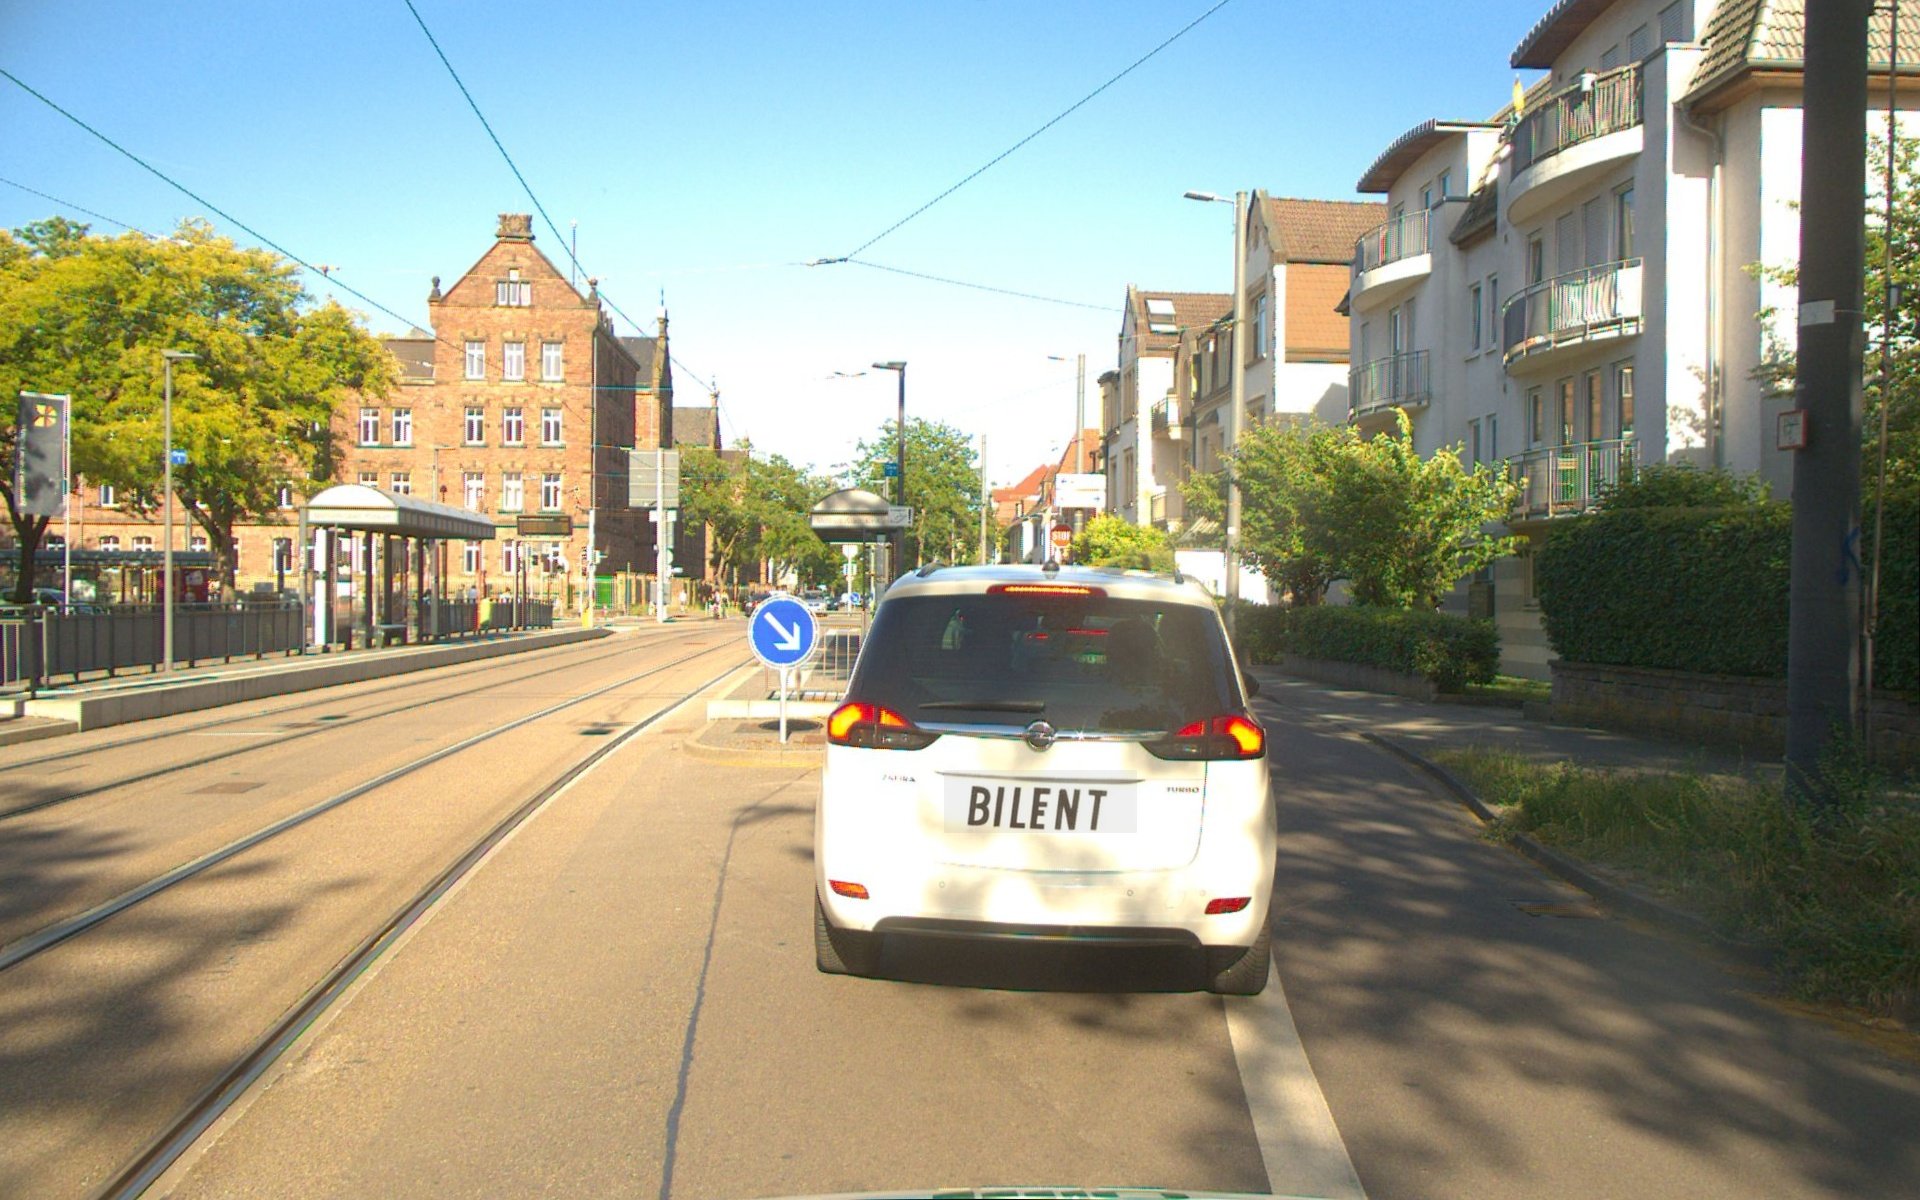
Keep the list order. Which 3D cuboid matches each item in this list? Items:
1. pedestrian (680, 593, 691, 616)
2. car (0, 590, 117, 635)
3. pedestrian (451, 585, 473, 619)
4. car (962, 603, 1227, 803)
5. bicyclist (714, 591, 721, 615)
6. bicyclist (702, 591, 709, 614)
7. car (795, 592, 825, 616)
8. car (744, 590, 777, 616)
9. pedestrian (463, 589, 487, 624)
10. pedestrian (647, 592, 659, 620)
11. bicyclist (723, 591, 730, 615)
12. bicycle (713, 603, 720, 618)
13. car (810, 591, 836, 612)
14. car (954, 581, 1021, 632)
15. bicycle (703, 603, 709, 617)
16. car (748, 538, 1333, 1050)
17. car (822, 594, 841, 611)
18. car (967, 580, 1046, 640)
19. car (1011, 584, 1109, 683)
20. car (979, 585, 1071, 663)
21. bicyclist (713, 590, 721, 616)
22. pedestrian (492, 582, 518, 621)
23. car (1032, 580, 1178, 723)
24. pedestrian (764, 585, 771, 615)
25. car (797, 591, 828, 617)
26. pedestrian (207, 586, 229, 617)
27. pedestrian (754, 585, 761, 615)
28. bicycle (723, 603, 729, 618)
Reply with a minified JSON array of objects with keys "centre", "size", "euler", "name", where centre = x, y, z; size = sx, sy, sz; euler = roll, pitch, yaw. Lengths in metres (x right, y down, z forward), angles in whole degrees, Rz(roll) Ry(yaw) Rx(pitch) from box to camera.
[{"centre":[-20.821,0.317,125.377],"size":[0.720,1.744,0.753],"euler":[1,-1,-6],"name":"pedestrian"},{"centre":[-41.991,0.543,74.130],"size":[6.810,1.954,2.991],"euler":[0,0,-2],"name":"car"},{"centre":[-23.753,0.090,78.922],"size":[0.786,1.616,0.934],"euler":[1,0,-3],"name":"pedestrian"},{"centre":[1.029,0.748,13.980],"size":[1.912,1.422,4.001],"euler":[0,0,1],"name":"car"},{"centre":[-15.576,0.189,106.319],"size":[0.435,1.580,0.495],"euler":[0,0,-4],"name":"bicyclist"},{"centre":[-17.650,0.188,114.818],"size":[0.435,1.580,0.495],"euler":[0,0,-4],"name":"bicyclist"},{"centre":[-10.352,0.265,114.249],"size":[1.955,1.657,3.996],"euler":[0,0,-5],"name":"car"},{"centre":[-12.858,0.200,106.882],"size":[1.955,1.657,3.996],"euler":[0,0,-5],"name":"car"},{"centre":[-22.259,0.303,75.915],"size":[0.786,1.616,0.934],"euler":[1,0,-3],"name":"pedestrian"},{"centre":[-19.423,0.395,104.646],"size":[0.721,1.744,0.705],"euler":[1,-1,-10],"name":"pedestrian"},{"centre":[-15.384,0.203,108.906],"size":[0.435,1.580,0.495],"euler":[0,0,-4],"name":"bicyclist"},{"centre":[-15.164,0.656,102.835],"size":[0.337,0.966,1.159],"euler":[1,0,-4],"name":"bicycle"},{"centre":[-11.071,0.133,134.172],"size":[1.953,1.657,3.998],"euler":[0,0,-3],"name":"car"},{"centre":[0.827,0.193,51.763],"size":[1.953,1.529,3.999],"euler":[0,0,-1],"name":"car"},{"centre":[-17.656,0.664,114.854],"size":[0.337,0.966,0.996],"euler":[1,0,-4],"name":"bicycle"},{"centre":[0.454,0.648,7.592],"size":[1.951,1.673,3.996],"euler":[1,0,6],"name":"car"},{"centre":[-13.034,0.246,167.608],"size":[1.955,1.657,3.984],"euler":[0,0,-5],"name":"car"},{"centre":[1.198,0.259,44.307],"size":[1.953,1.529,3.999],"euler":[0,0,-1],"name":"car"},{"centre":[1.712,0.551,29.267],"size":[1.603,1.629,3.855],"euler":[0,0,1],"name":"car"},{"centre":[1.377,0.493,36.186],"size":[1.793,1.607,4.009],"euler":[0,0,-1],"name":"car"},{"centre":[-15.155,0.181,103.043],"size":[0.435,1.580,0.742],"euler":[0,0,-4],"name":"bicyclist"},{"centre":[-20.533,0.079,74.589],"size":[0.877,1.713,1.029],"euler":[1,0,-1],"name":"pedestrian"},{"centre":[1.739,0.585,20.838],"size":[1.603,1.629,3.855],"euler":[0,0,1],"name":"car"},{"centre":[-13.065,0.021,112.042],"size":[0.435,2.049,0.495],"euler":[0,0,-4],"name":"pedestrian"},{"centre":[-9.548,0.249,107.155],"size":[1.955,1.657,3.996],"euler":[0,0,-5],"name":"car"},{"centre":[-39.283,0.083,87.544],"size":[0.916,1.616,0.801],"euler":[0,0,-15],"name":"pedestrian"},{"centre":[-13.648,0.010,111.751],"size":[0.435,2.049,0.495],"euler":[0,0,-4],"name":"pedestrian"},{"centre":[-15.395,0.678,108.913],"size":[0.337,0.966,0.996],"euler":[1,0,-4],"name":"bicycle"}]
